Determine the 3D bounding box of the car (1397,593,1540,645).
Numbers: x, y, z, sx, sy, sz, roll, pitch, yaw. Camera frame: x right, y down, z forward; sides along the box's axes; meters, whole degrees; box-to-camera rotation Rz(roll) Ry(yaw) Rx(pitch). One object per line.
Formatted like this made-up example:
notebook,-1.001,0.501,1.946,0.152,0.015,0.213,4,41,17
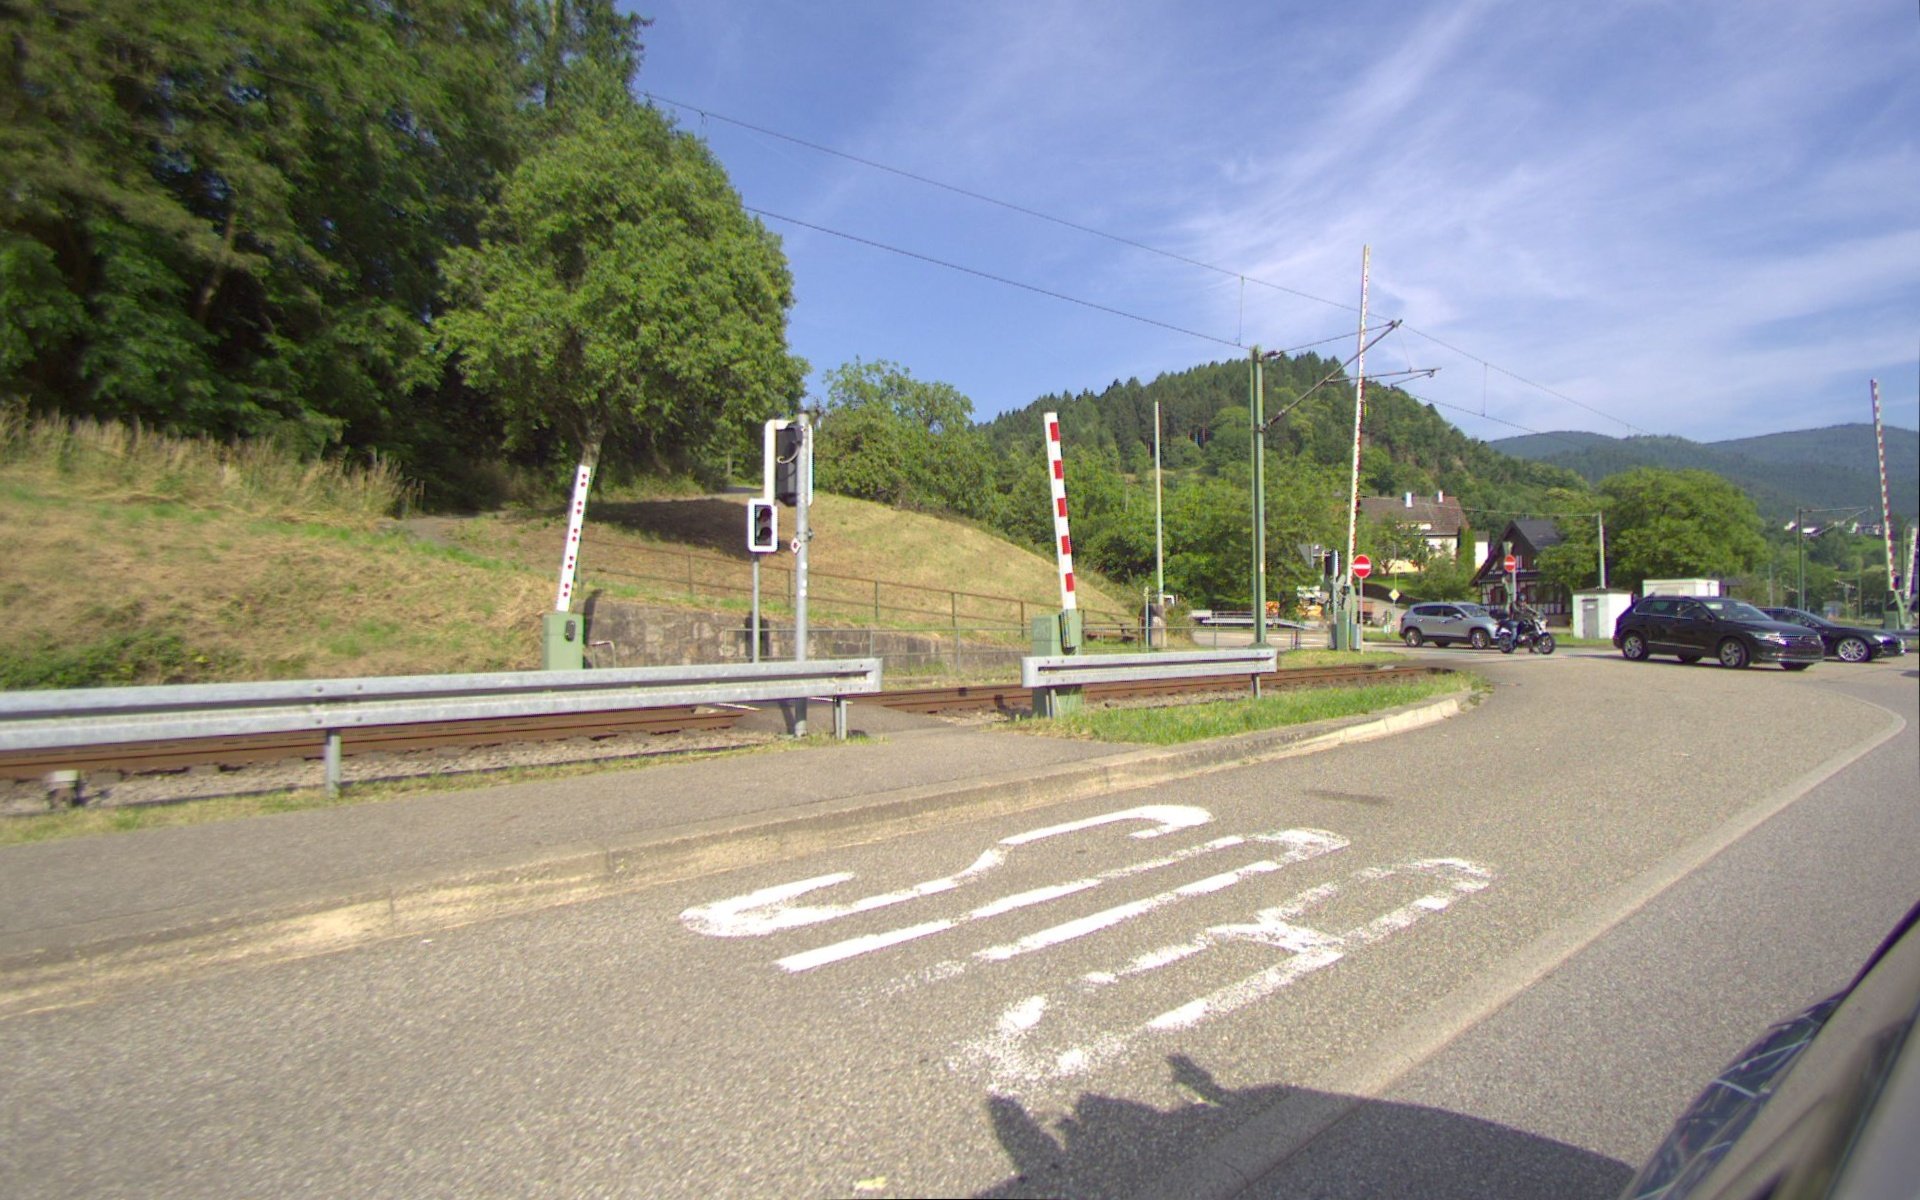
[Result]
car,17.496,0.677,35.051,1.797,1.708,4.131,0,-2,-27

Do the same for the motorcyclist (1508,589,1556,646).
motorcyclist,16.358,0.498,28.951,0.749,1.617,0.911,0,-2,-23

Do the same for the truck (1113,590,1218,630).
truck,12.375,0.566,60.980,5.812,2.260,2.413,-1,1,-18

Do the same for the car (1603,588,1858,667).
car,17.864,0.573,23.822,1.891,1.681,4.749,0,0,-9

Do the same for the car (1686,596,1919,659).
car,22.760,0.668,27.409,1.808,1.488,4.739,0,1,-38

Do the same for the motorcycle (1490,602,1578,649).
motorcycle,16.367,0.730,28.916,0.782,1.270,2.103,0,-2,-22
